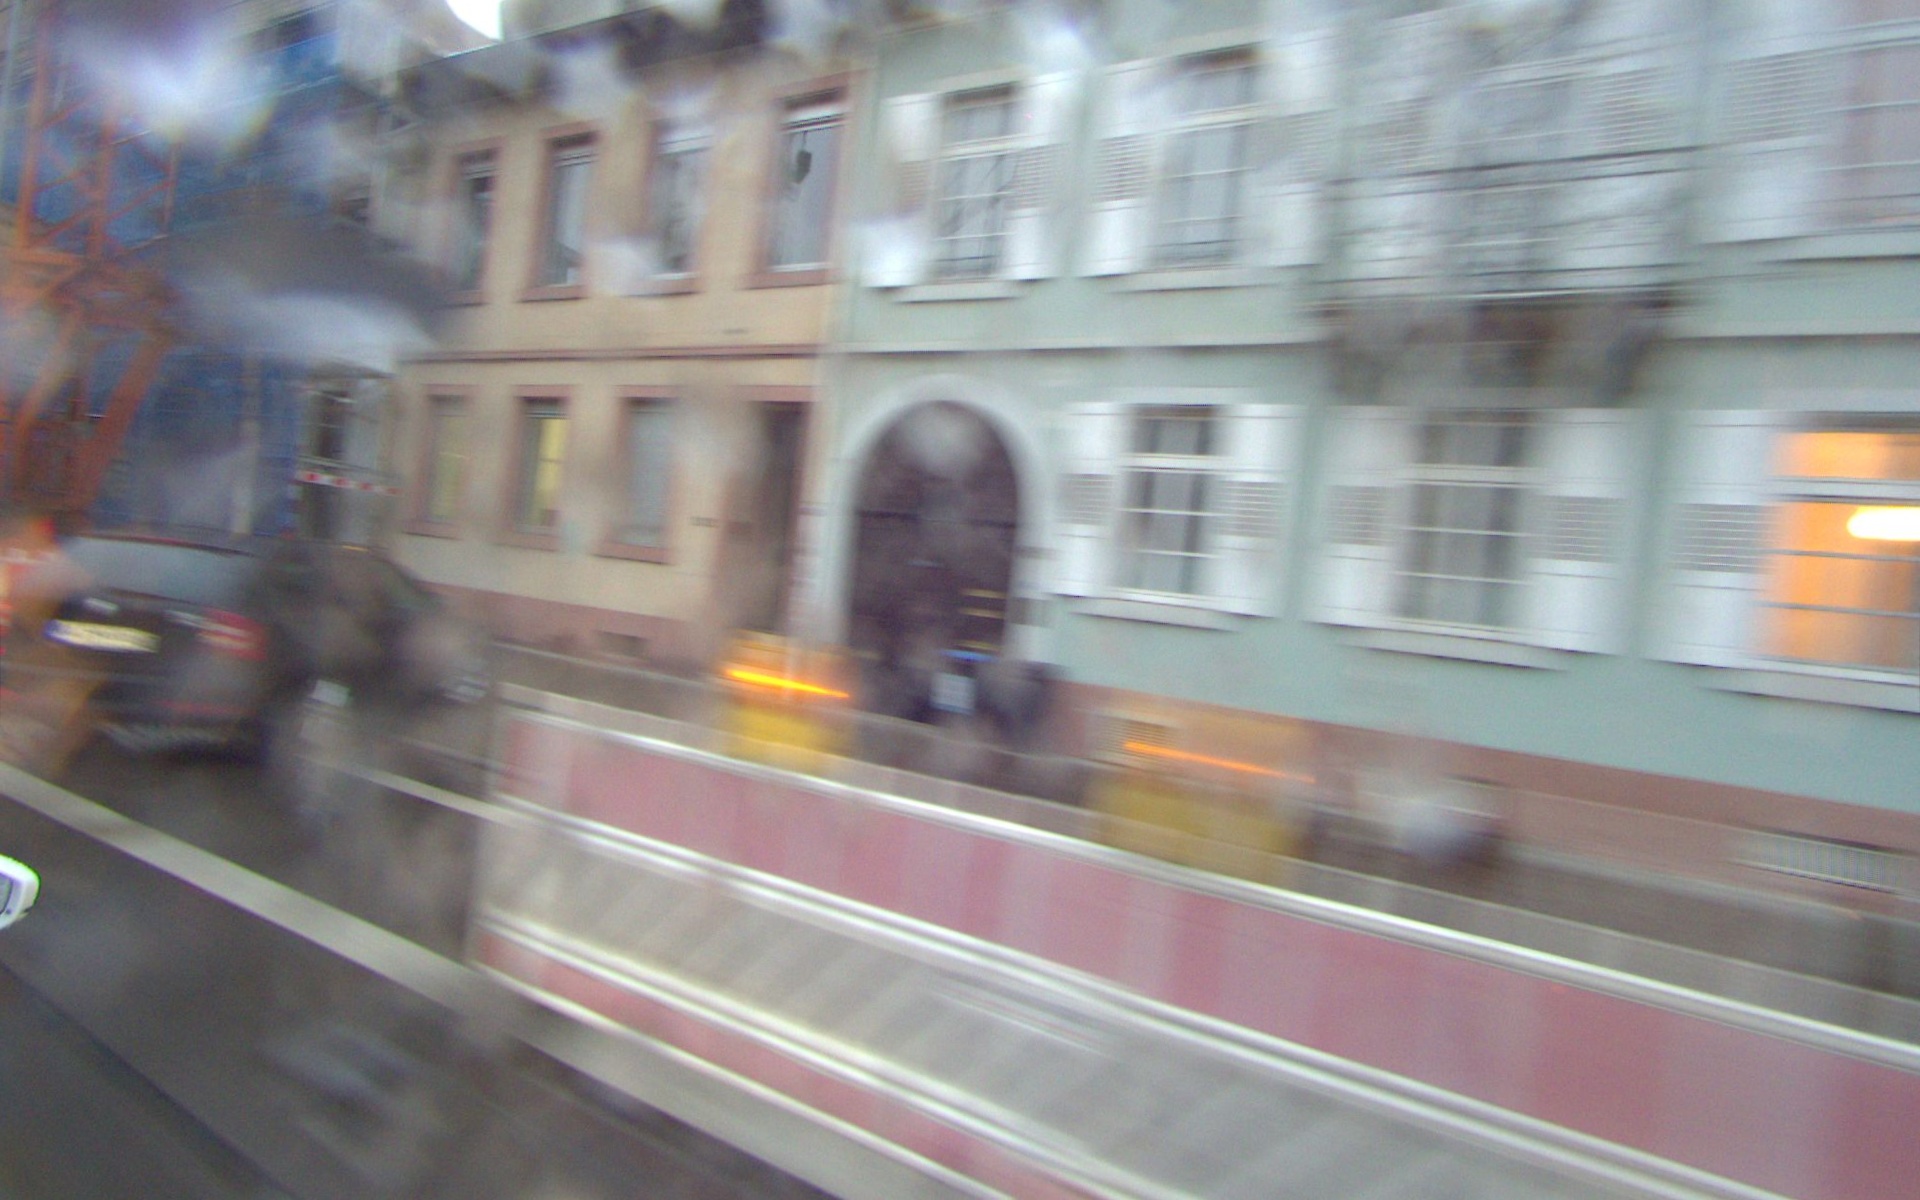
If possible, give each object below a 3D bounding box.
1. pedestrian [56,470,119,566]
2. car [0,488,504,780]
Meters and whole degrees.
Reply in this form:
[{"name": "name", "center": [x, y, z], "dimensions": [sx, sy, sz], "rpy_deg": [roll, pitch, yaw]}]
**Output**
[{"name": "pedestrian", "center": [-16.903, -1.584, 19.490], "dimensions": [0.714, 1.733, 0.642], "rpy_deg": [8, 3, 29]}, {"name": "car", "center": [-5.371, 0.183, 7.906], "dimensions": [1.874, 1.536, 4.091], "rpy_deg": [8, -1, -6]}]
